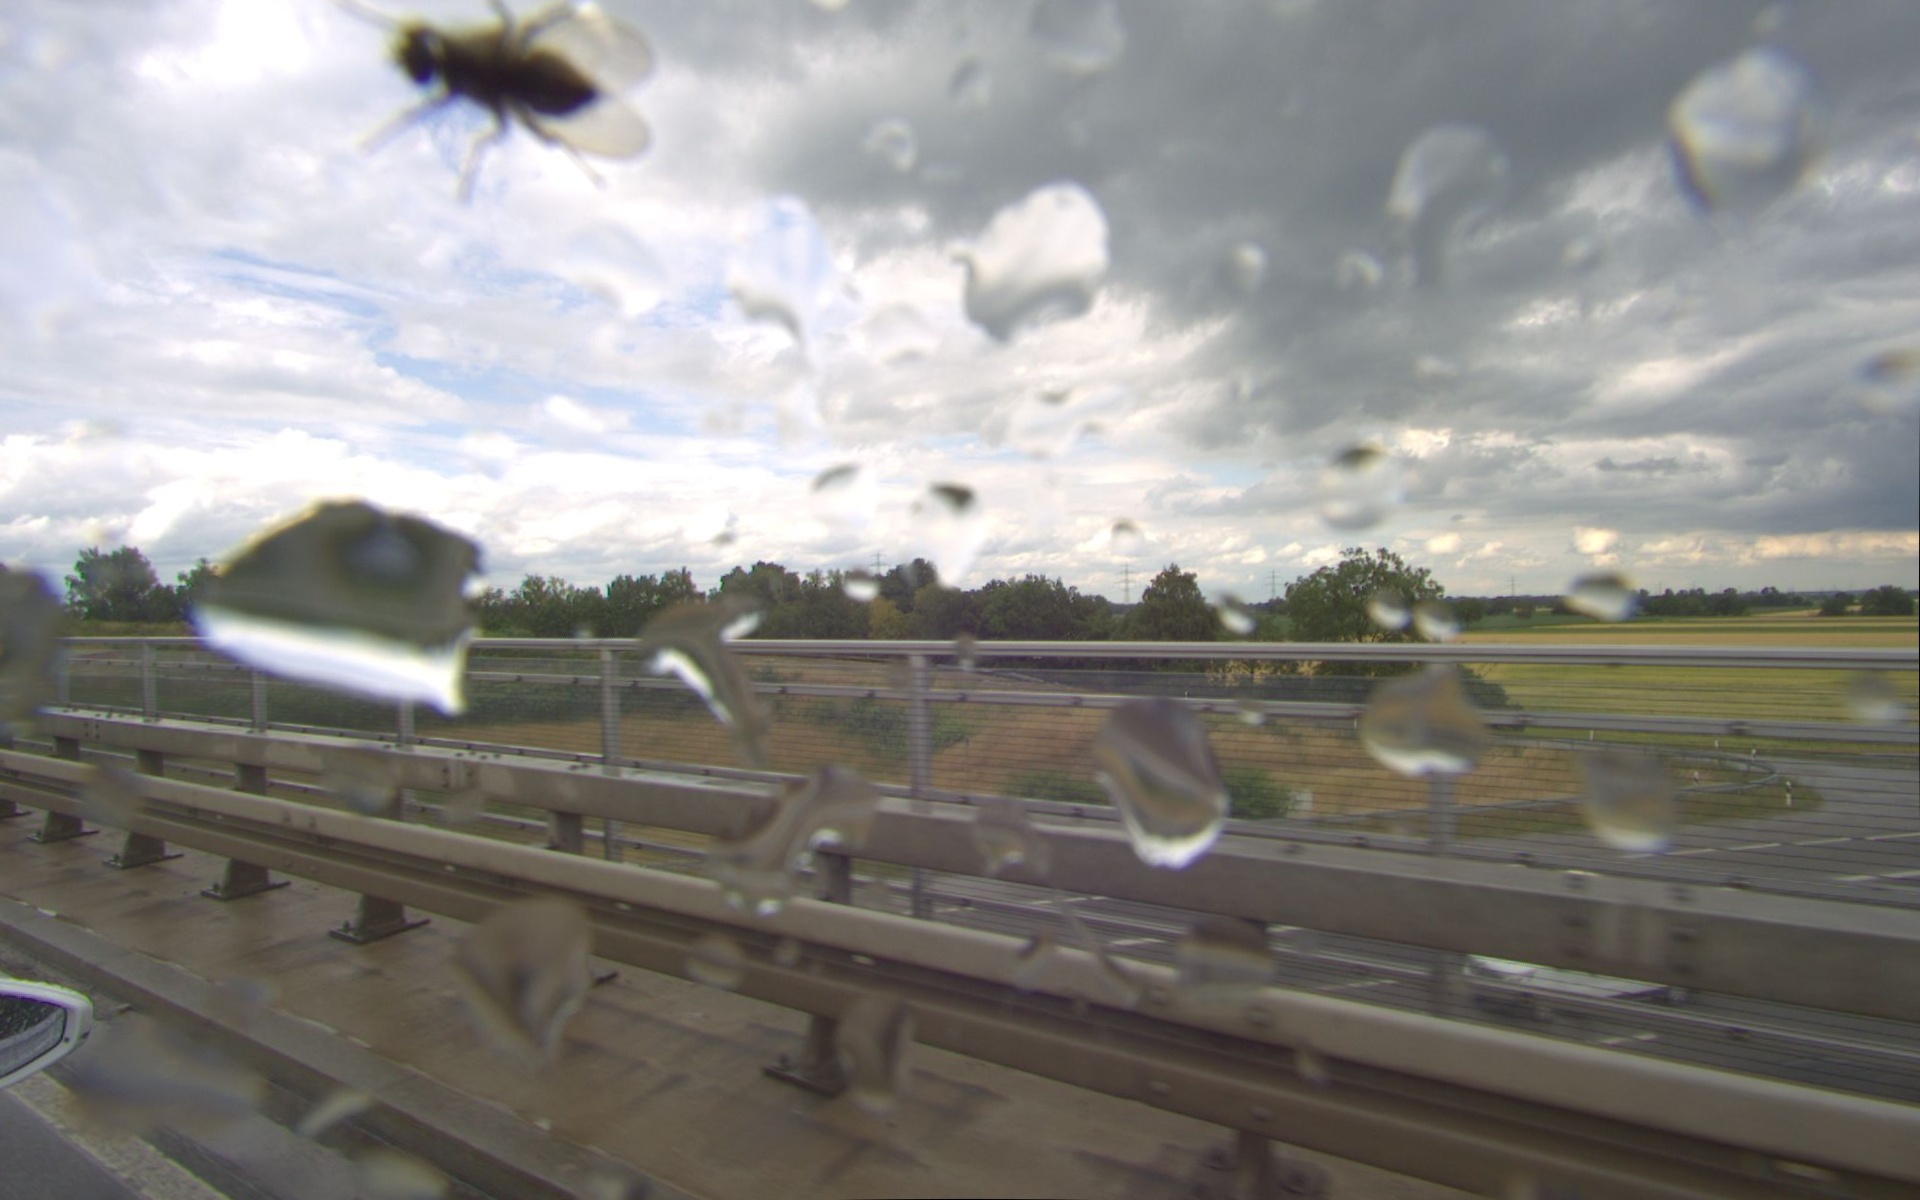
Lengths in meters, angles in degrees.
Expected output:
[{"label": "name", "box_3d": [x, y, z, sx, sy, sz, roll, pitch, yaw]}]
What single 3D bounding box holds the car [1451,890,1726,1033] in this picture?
[{"label": "car", "box_3d": [14.274, 8.132, 22.831, 5.453, 2.249, 1.999, 0, -2, -12]}]
